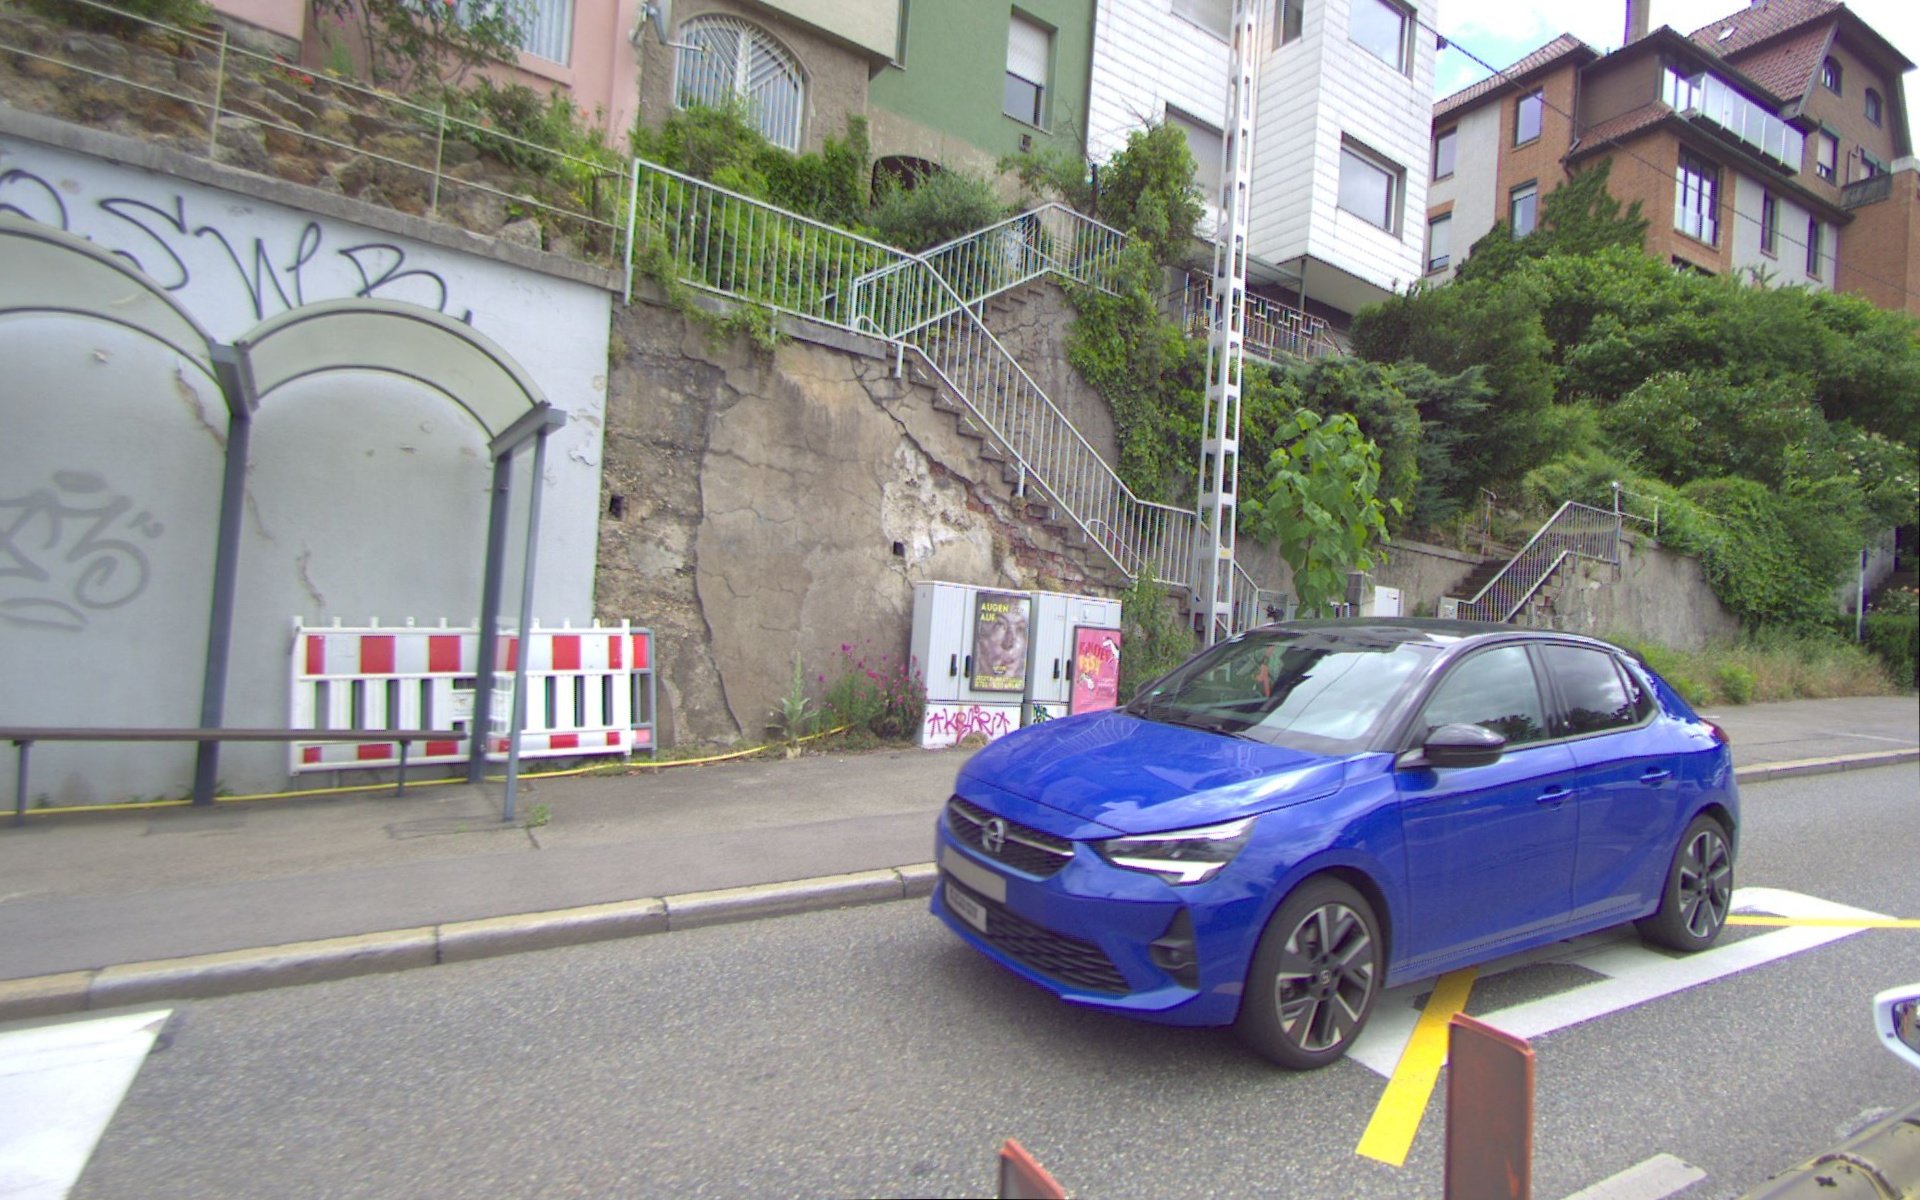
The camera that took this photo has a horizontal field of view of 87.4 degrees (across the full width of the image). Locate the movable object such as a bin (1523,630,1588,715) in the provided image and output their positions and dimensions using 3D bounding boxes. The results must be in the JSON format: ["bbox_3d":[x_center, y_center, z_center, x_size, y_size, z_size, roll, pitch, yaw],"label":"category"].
[{"bbox_3d":[7.934,0.954,13.381,0.617,1.068,0.465,1,2,-30],"label":"movable object such as a bin"}]

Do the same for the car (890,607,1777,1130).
[{"bbox_3d":[1.763,0.804,4.516,3.775,1.439,1.718,2,0,-30],"label":"car"}]

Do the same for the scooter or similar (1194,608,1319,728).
[{"bbox_3d":[3.258,0.723,10.995,1.420,1.221,0.457,1,2,-33],"label":"scooter or similar"}]

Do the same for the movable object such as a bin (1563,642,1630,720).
[{"bbox_3d":[8.195,1.034,12.932,0.617,0.947,0.465,1,2,-30],"label":"movable object such as a bin"}]

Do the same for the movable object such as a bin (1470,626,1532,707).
[{"bbox_3d":[7.529,0.916,13.982,0.617,1.068,0.465,1,2,-30],"label":"movable object such as a bin"}]
